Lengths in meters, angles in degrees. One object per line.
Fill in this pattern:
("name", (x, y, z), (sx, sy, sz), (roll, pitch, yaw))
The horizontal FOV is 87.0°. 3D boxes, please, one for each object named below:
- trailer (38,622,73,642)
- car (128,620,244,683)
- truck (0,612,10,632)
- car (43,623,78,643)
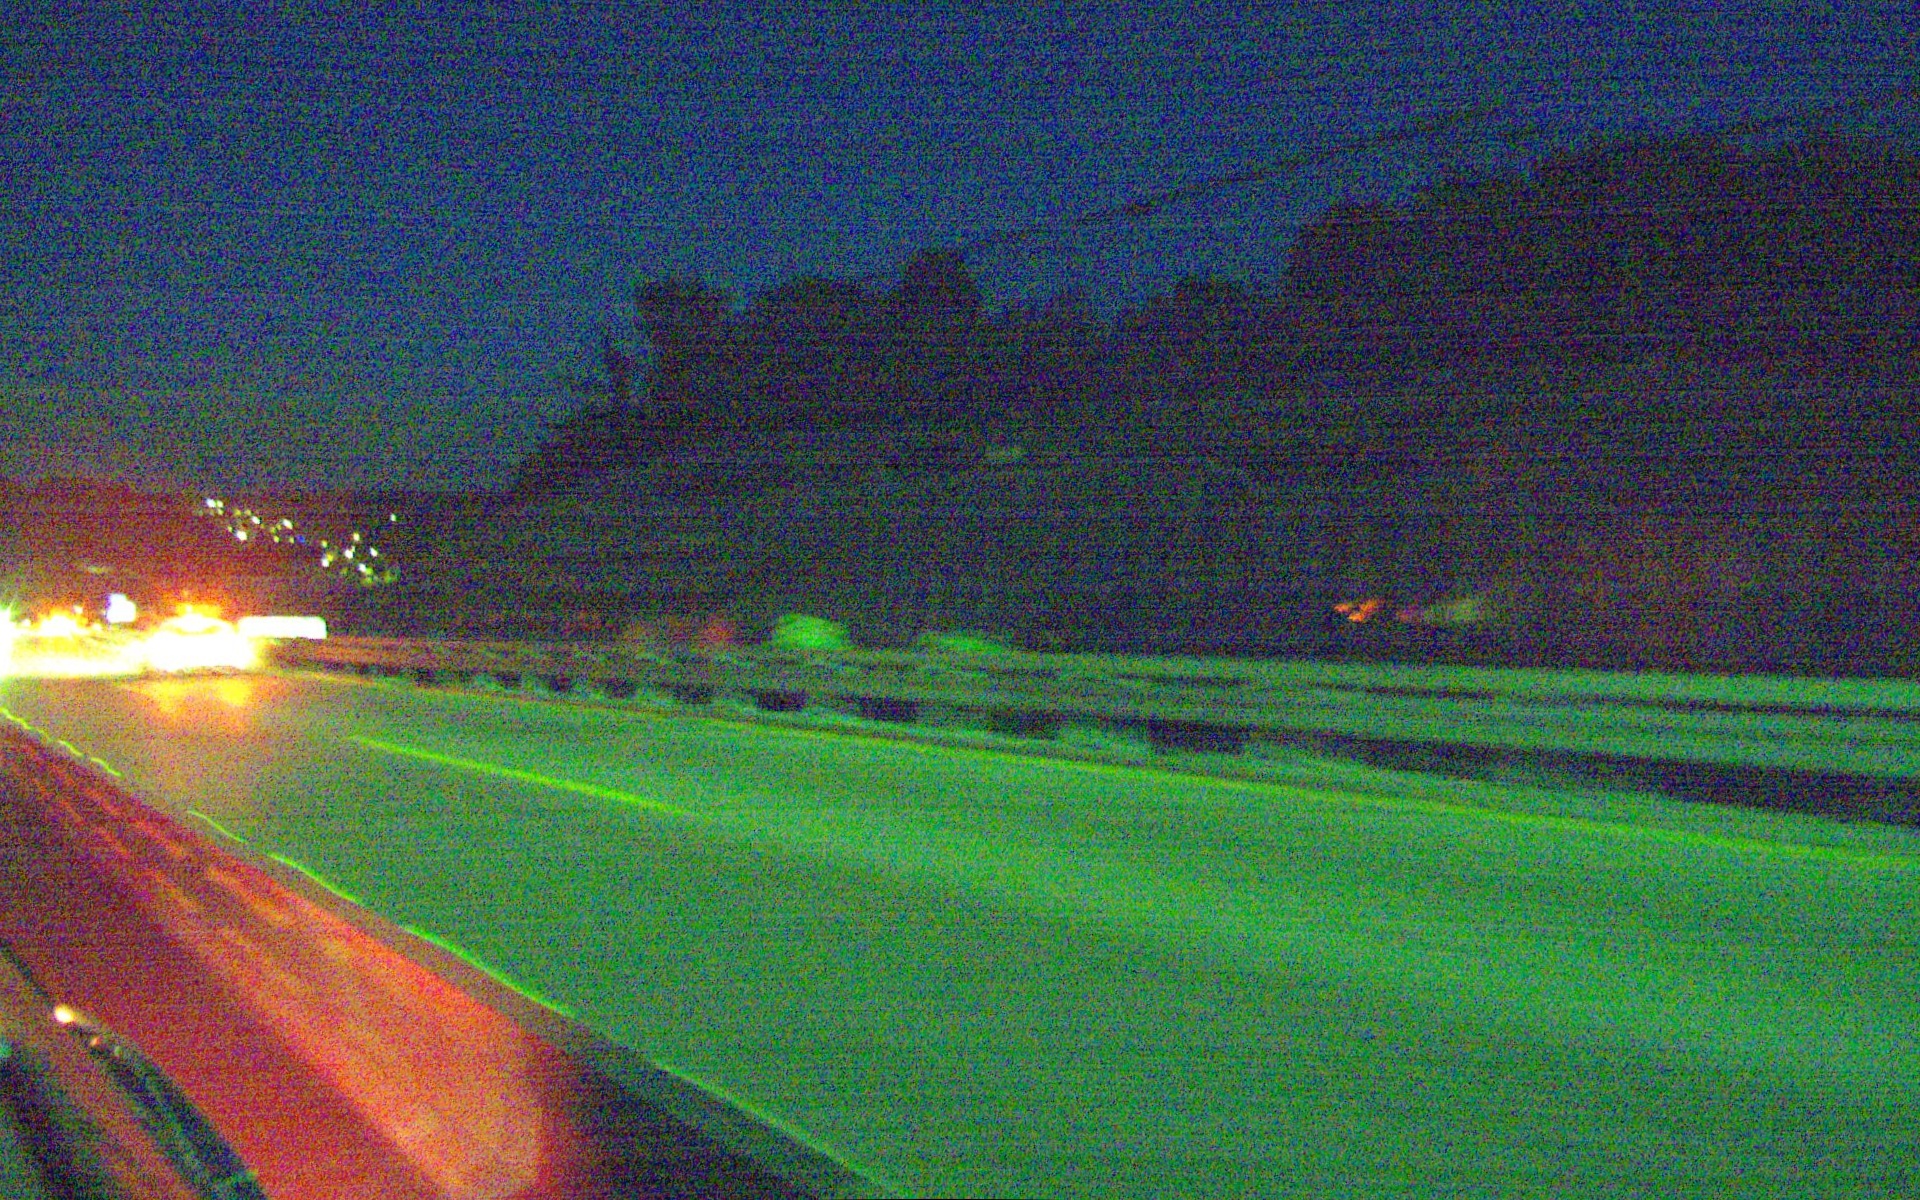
("trailer", (-79.883, 2.832, 89.402), (1.987, 1.652, 3.425), (0, -1, -37))
("car", (-19.733, 1.241, 25.747), (4.200, 1.470, 1.666), (-1, -1, 43))
("truck", (-122.290, 2.769, 128.328), (2.390, 2.443, 7.102), (0, -1, -41))
("car", (-82.397, 3.000, 92.737), (1.986, 1.652, 4.874), (0, -1, -37))
